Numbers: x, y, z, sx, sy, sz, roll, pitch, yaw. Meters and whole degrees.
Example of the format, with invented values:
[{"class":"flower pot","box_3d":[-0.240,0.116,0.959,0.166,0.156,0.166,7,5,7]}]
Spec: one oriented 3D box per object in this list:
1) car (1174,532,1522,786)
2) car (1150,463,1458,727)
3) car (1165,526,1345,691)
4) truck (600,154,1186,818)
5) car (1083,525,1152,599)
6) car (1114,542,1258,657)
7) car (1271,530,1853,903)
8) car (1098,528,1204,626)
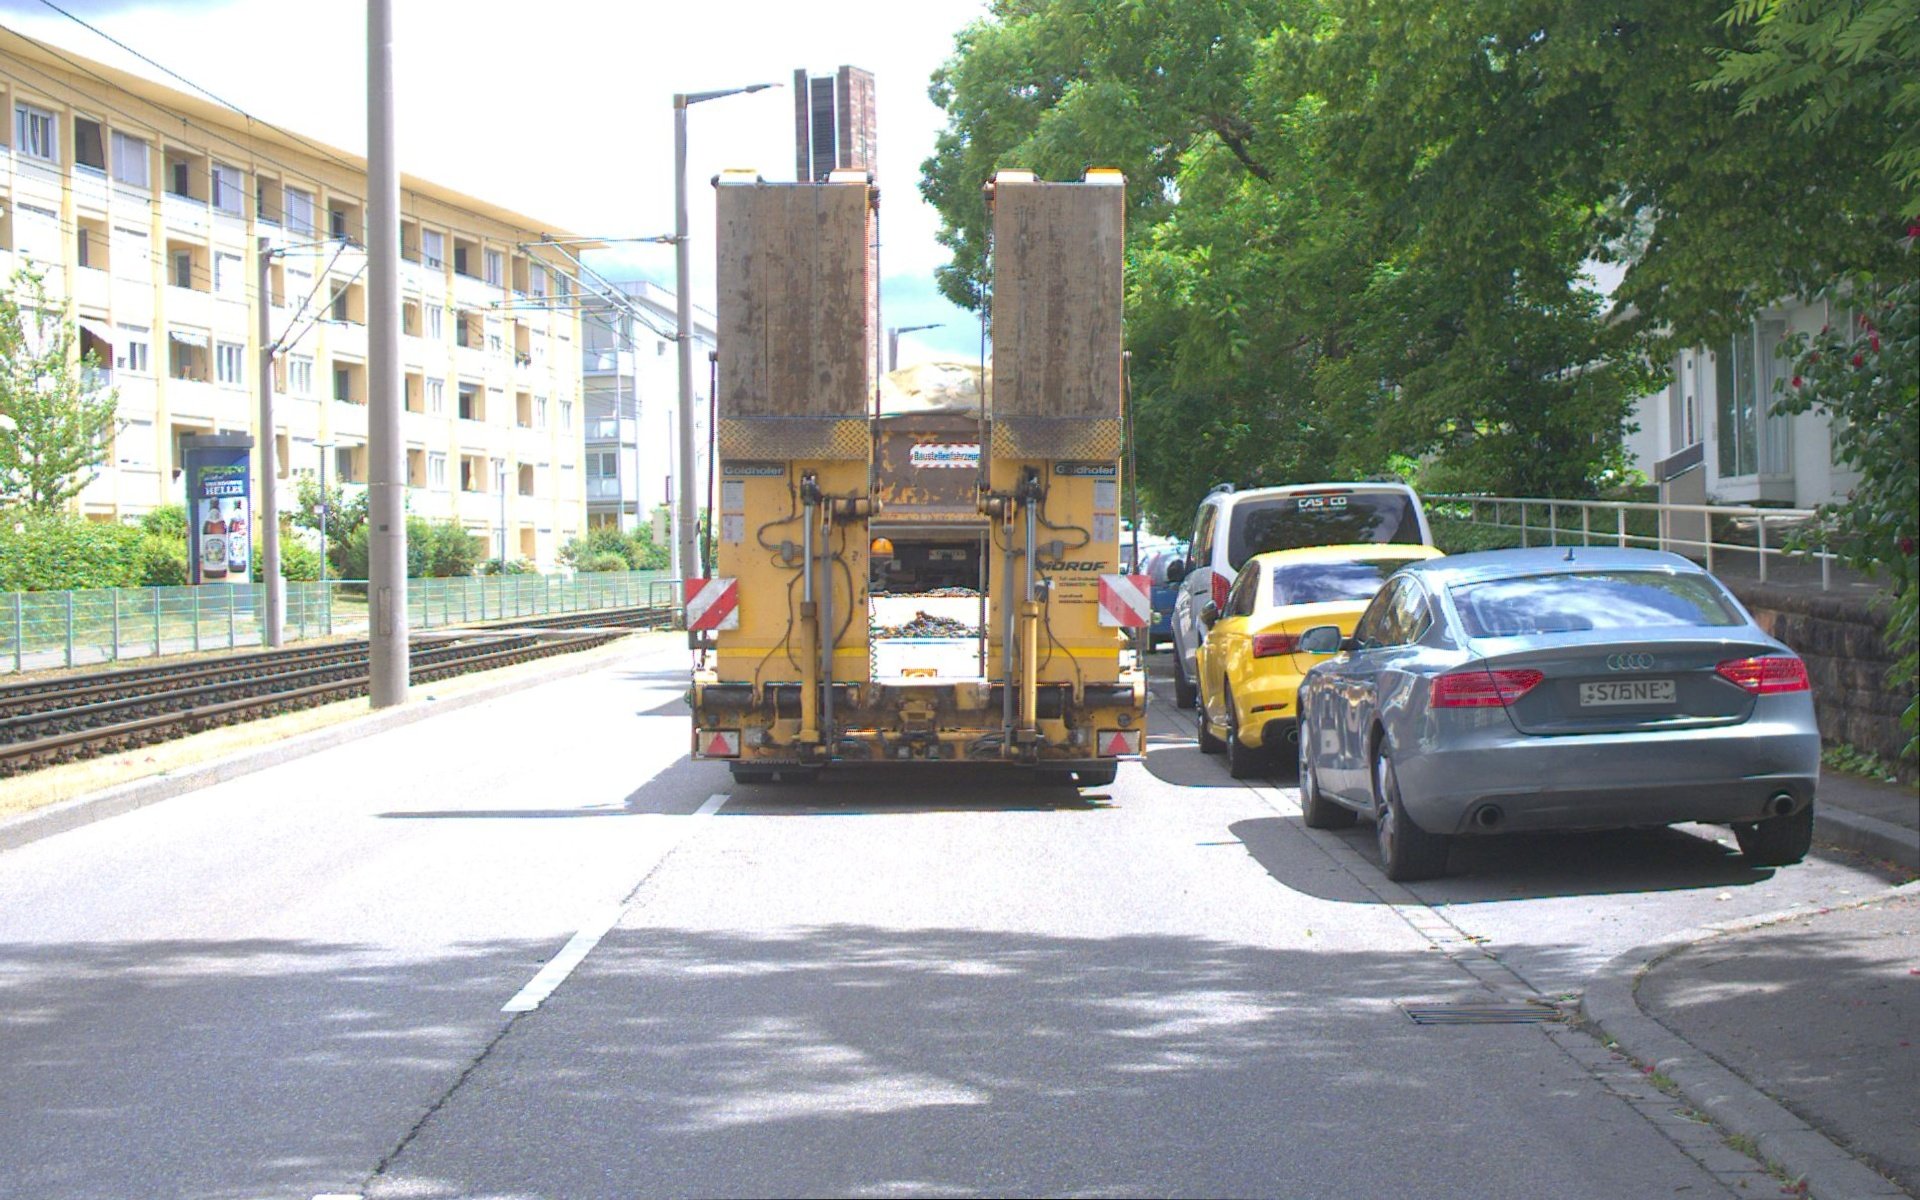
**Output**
[{"class":"car","box_3d":[2.442,0.316,22.607,1.755,1.437,4.341,-2,1,0]},{"class":"car","box_3d":[2.779,-0.085,29.065,1.914,1.952,5.745,-2,1,-1]},{"class":"car","box_3d":[2.932,0.061,34.653,1.513,1.528,2.847,-2,1,0]},{"class":"truck","box_3d":[-0.523,-0.727,24.849,3.124,3.552,12.461,-1,1,-1]},{"class":"car","box_3d":[4.394,-1.081,96.526,1.799,1.961,4.590,-2,1,2]},{"class":"car","box_3d":[3.052,-0.033,46.966,1.608,1.451,3.676,-2,1,-1]},{"class":"car","box_3d":[2.613,0.432,15.994,1.755,1.437,4.494,-2,1,-2]},{"class":"car","box_3d":[3.536,-0.453,63.138,1.824,1.676,4.575,-2,1,4]}]
